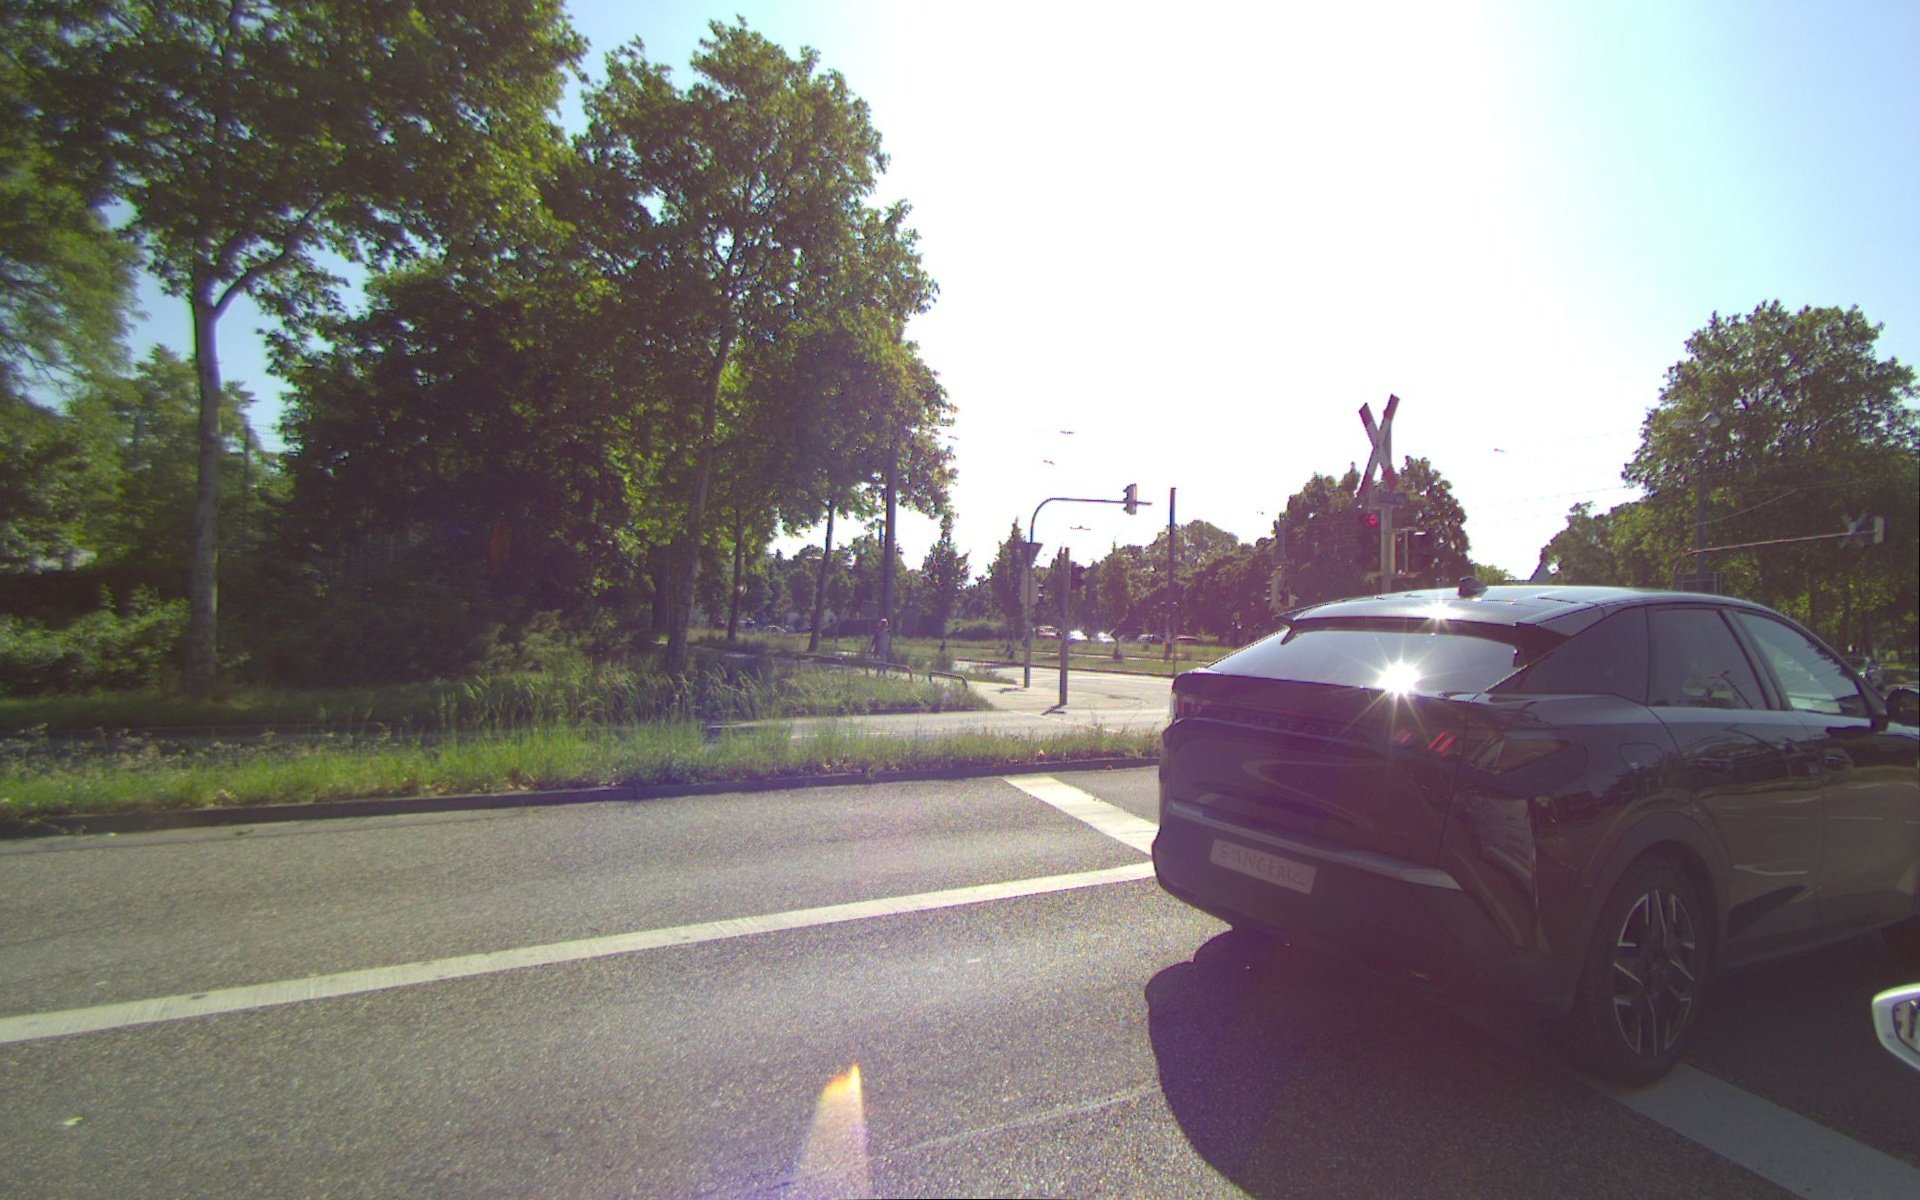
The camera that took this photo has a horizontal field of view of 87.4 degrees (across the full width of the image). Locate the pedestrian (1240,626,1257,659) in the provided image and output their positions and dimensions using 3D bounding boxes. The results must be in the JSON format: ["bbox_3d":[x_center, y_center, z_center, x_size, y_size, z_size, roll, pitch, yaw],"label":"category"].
[{"bbox_3d":[17.836,2.610,62.108,0.705,2.040,0.787,2,-2,-37],"label":"pedestrian"}]

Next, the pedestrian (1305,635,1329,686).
[{"bbox_3d":[11.452,1.932,32.239,0.656,1.581,0.366,0,-2,27],"label":"pedestrian"}]

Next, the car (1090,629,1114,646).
[{"bbox_3d":[13.063,3.443,92.523,1.421,1.465,3.340,2,-2,-4],"label":"car"}]

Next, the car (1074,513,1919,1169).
[{"bbox_3d":[2.853,0.712,4.554,4.383,1.718,1.863,2,-1,-30],"label":"car"}]

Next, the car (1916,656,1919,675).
[{"bbox_3d":[85.567,5.776,88.320,4.396,1.610,1.695,3,-4,-40],"label":"car"}]

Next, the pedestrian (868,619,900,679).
[{"bbox_3d":[-1.995,1.289,26.390,0.563,1.554,0.601,2,-2,-36],"label":"pedestrian"}]

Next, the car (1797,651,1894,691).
[{"bbox_3d":[36.732,2.937,41.648,4.607,1.528,1.686,2,-2,-30],"label":"car"}]

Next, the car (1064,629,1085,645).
[{"bbox_3d":[10.469,3.401,92.230,1.323,1.465,3.340,2,-2,-4],"label":"car"}]

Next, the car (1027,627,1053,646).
[{"bbox_3d":[7.397,3.347,92.820,1.780,1.725,3.986,2,-2,-4],"label":"car"}]
